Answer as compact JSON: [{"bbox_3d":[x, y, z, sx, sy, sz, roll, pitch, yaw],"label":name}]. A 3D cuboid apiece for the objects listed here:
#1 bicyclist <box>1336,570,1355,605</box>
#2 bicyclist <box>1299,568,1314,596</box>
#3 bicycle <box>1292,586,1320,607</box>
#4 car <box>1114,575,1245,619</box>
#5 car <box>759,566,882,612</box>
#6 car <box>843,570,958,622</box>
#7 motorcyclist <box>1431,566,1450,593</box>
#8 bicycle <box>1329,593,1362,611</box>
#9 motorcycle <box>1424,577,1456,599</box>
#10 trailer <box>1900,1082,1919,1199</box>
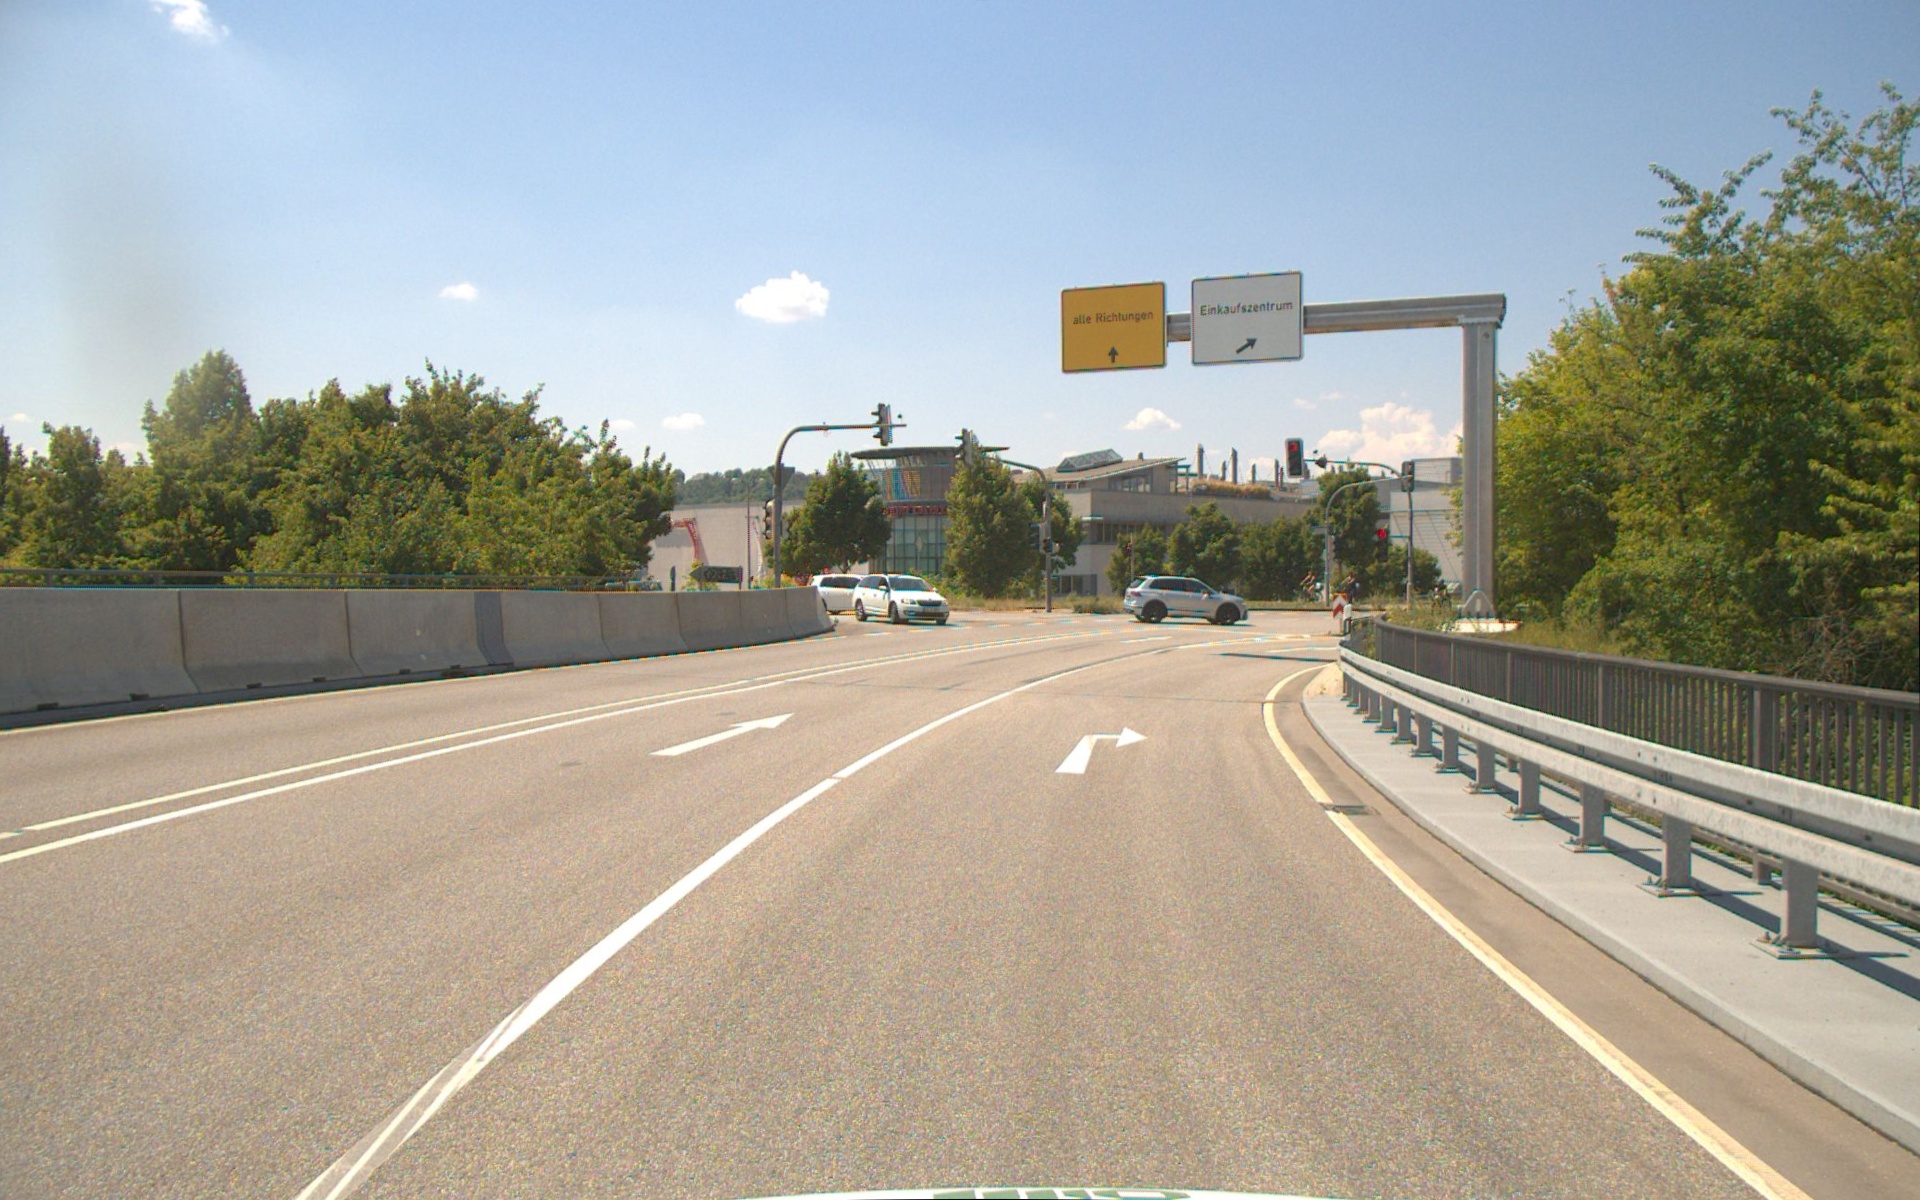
[{"bbox_3d":[19.419,-0.640,83.306,0.725,1.747,0.523,0,3,-43],"label":"bicyclist"},{"bbox_3d":[17.475,-0.907,83.366,0.679,1.428,0.402,1,2,-44],"label":"bicyclist"},{"bbox_3d":[17.449,-0.158,83.378,1.818,1.042,0.408,0,3,-45],"label":"bicycle"},{"bbox_3d":[7.766,-0.097,58.694,4.296,1.532,1.998,0,0,-5],"label":"car"},{"bbox_3d":[-5.148,-0.416,61.258,4.037,1.512,2.000,2,1,21],"label":"car"},{"bbox_3d":[-1.892,-0.159,51.010,1.767,1.521,4.509,0,1,-28],"label":"car"},{"bbox_3d":[23.911,-1.015,82.324,0.718,1.325,0.665,0,-1,-45],"label":"motorcyclist"},{"bbox_3d":[19.428,0.116,83.354,2.110,0.867,0.527,0,3,-44],"label":"bicycle"},{"bbox_3d":[23.879,-0.607,82.284,0.555,1.099,2.268,0,0,44],"label":"motorcycle"},{"bbox_3d":[10.648,5.756,9.915,8.187,4.424,2.902,0,0,13],"label":"trailer"}]
